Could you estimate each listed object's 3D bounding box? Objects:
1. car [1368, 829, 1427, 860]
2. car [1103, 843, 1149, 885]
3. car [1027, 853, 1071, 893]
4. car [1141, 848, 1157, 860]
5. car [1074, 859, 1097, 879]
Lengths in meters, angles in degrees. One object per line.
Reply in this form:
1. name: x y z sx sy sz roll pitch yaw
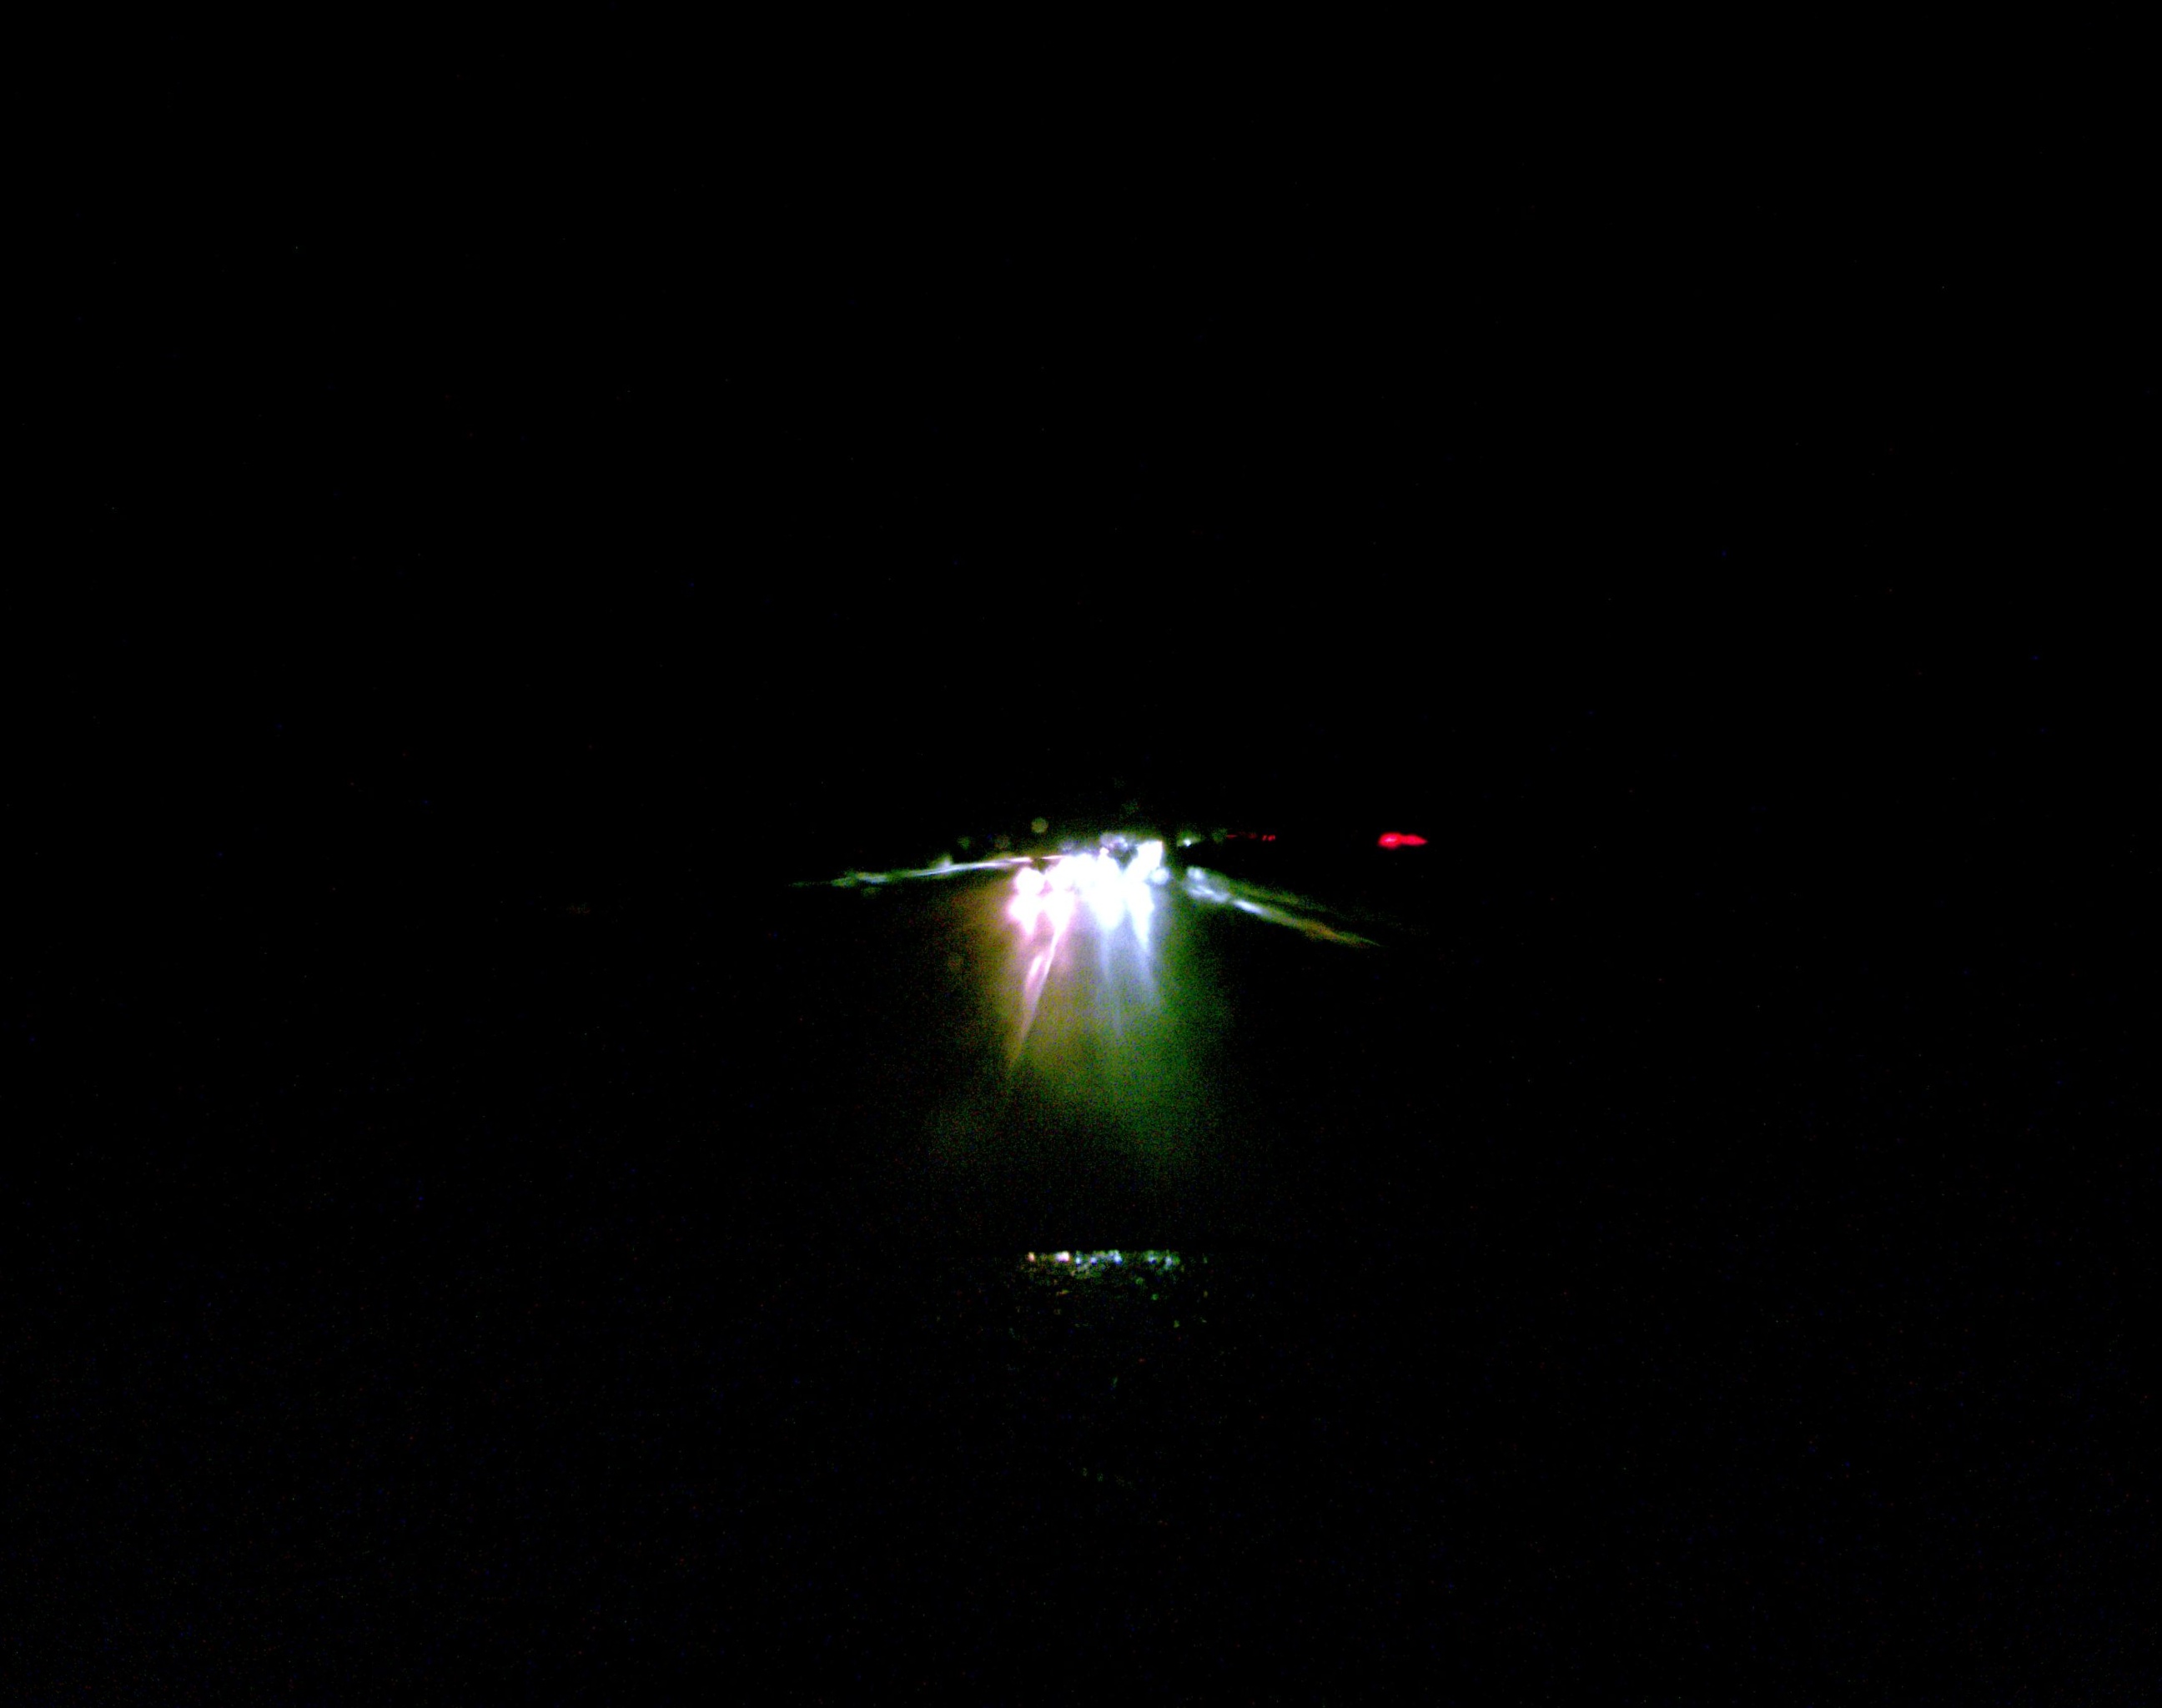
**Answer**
1. car: 19.492 -0.546 46.937 1.998 1.595 4.001 -6 -1 3
2. car: 2.484 0.527 40.924 1.997 2.001 4.003 -5 -1 8
3. car: -1.470 0.812 35.140 1.805 1.608 4.255 -3 1 -2
4. car: 11.293 0.020 126.335 1.997 1.802 4.004 -6 -1 13
5. car: 0.425 1.384 69.547 1.847 1.614 3.680 -5 -1 2
